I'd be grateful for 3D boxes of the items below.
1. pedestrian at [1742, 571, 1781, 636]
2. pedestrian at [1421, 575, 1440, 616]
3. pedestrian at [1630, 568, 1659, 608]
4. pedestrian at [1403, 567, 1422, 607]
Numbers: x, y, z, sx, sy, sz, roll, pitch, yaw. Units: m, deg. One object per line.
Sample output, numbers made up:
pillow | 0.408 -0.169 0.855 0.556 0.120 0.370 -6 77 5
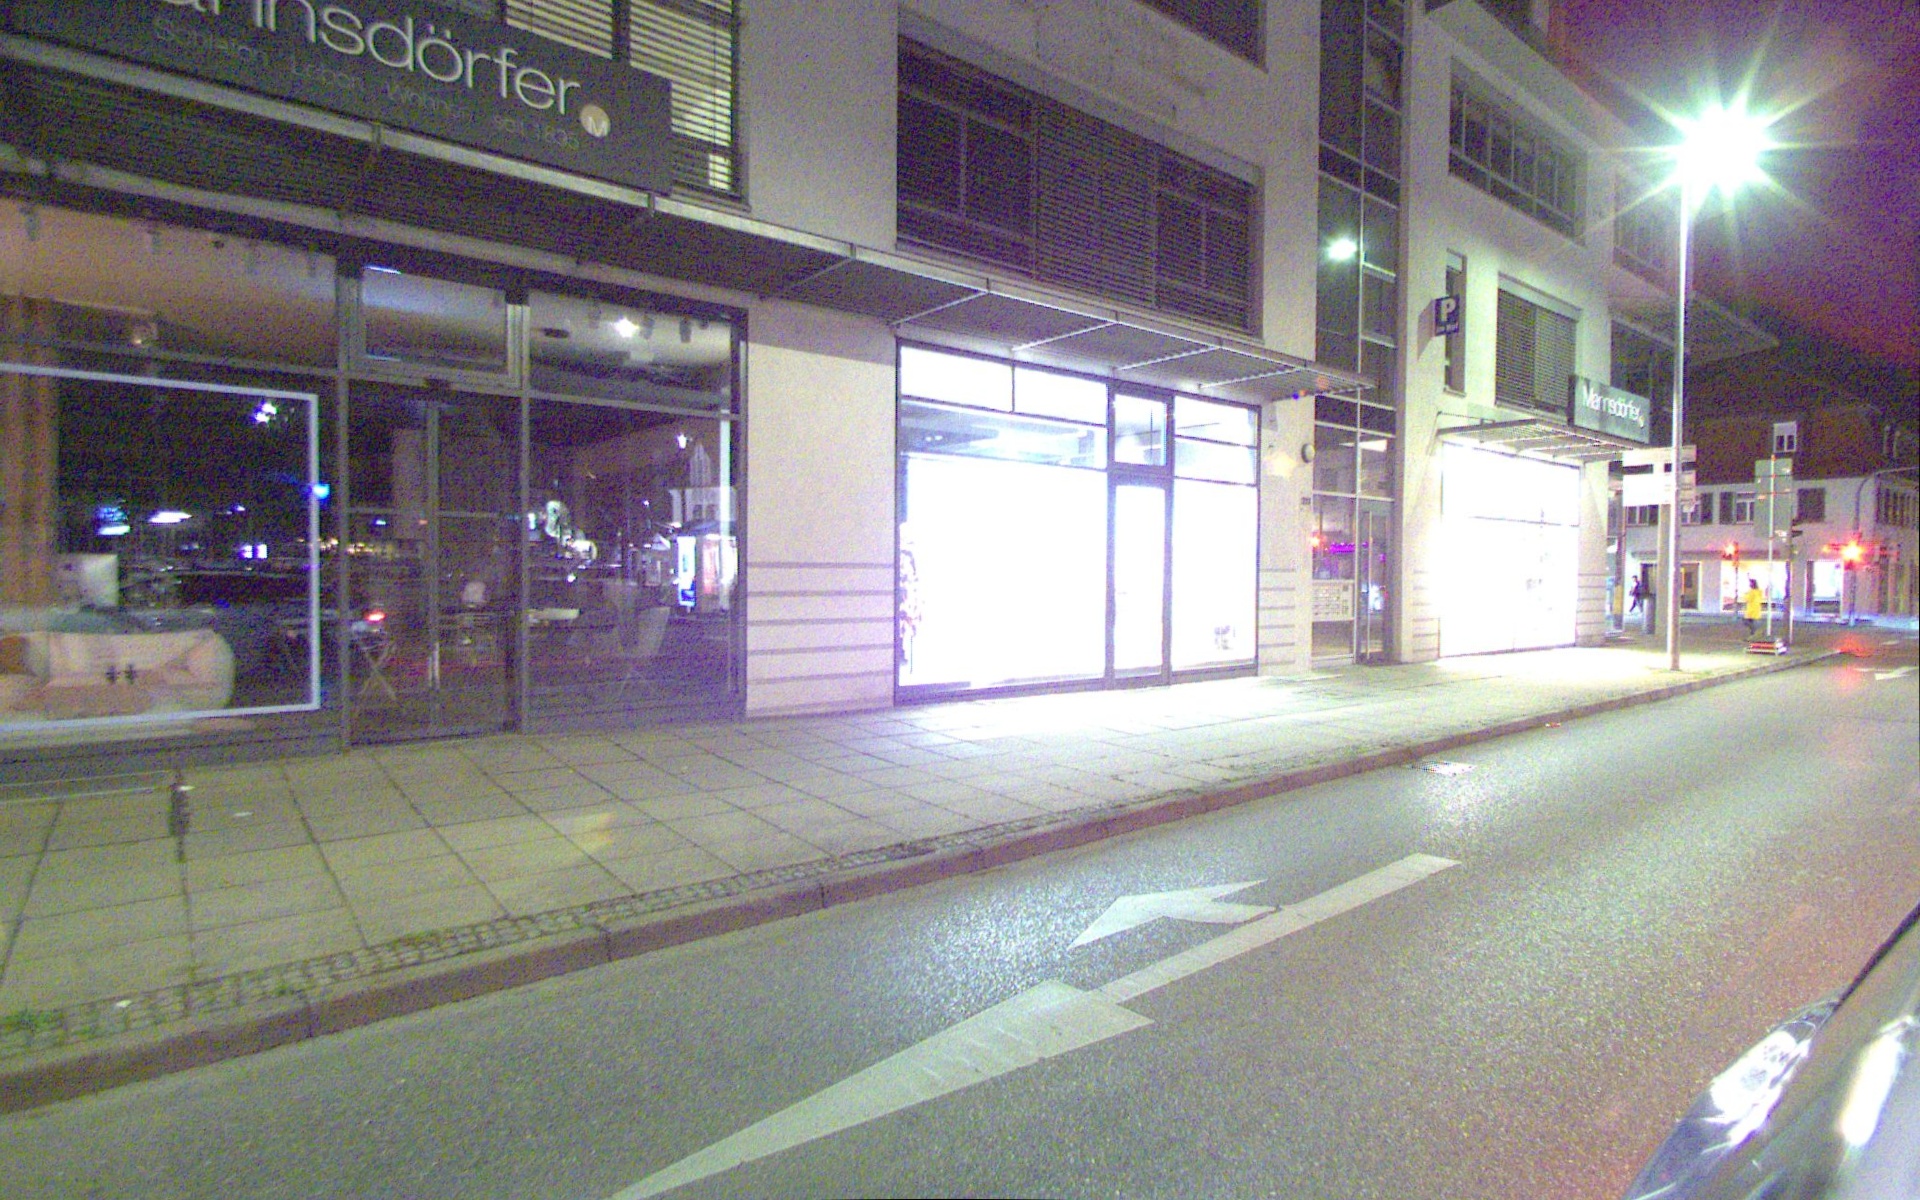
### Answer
pedestrian | 21.285 0.094 26.874 0.634 1.703 0.541 0 0 -19
pedestrian | 20.039 -0.196 43.118 0.556 1.738 0.525 0 0 -34
pedestrian | 30.519 -0.537 45.122 0.635 1.755 0.877 0 2 -37
pedestrian | 19.882 -0.558 44.490 0.556 1.738 0.567 0 0 -34
